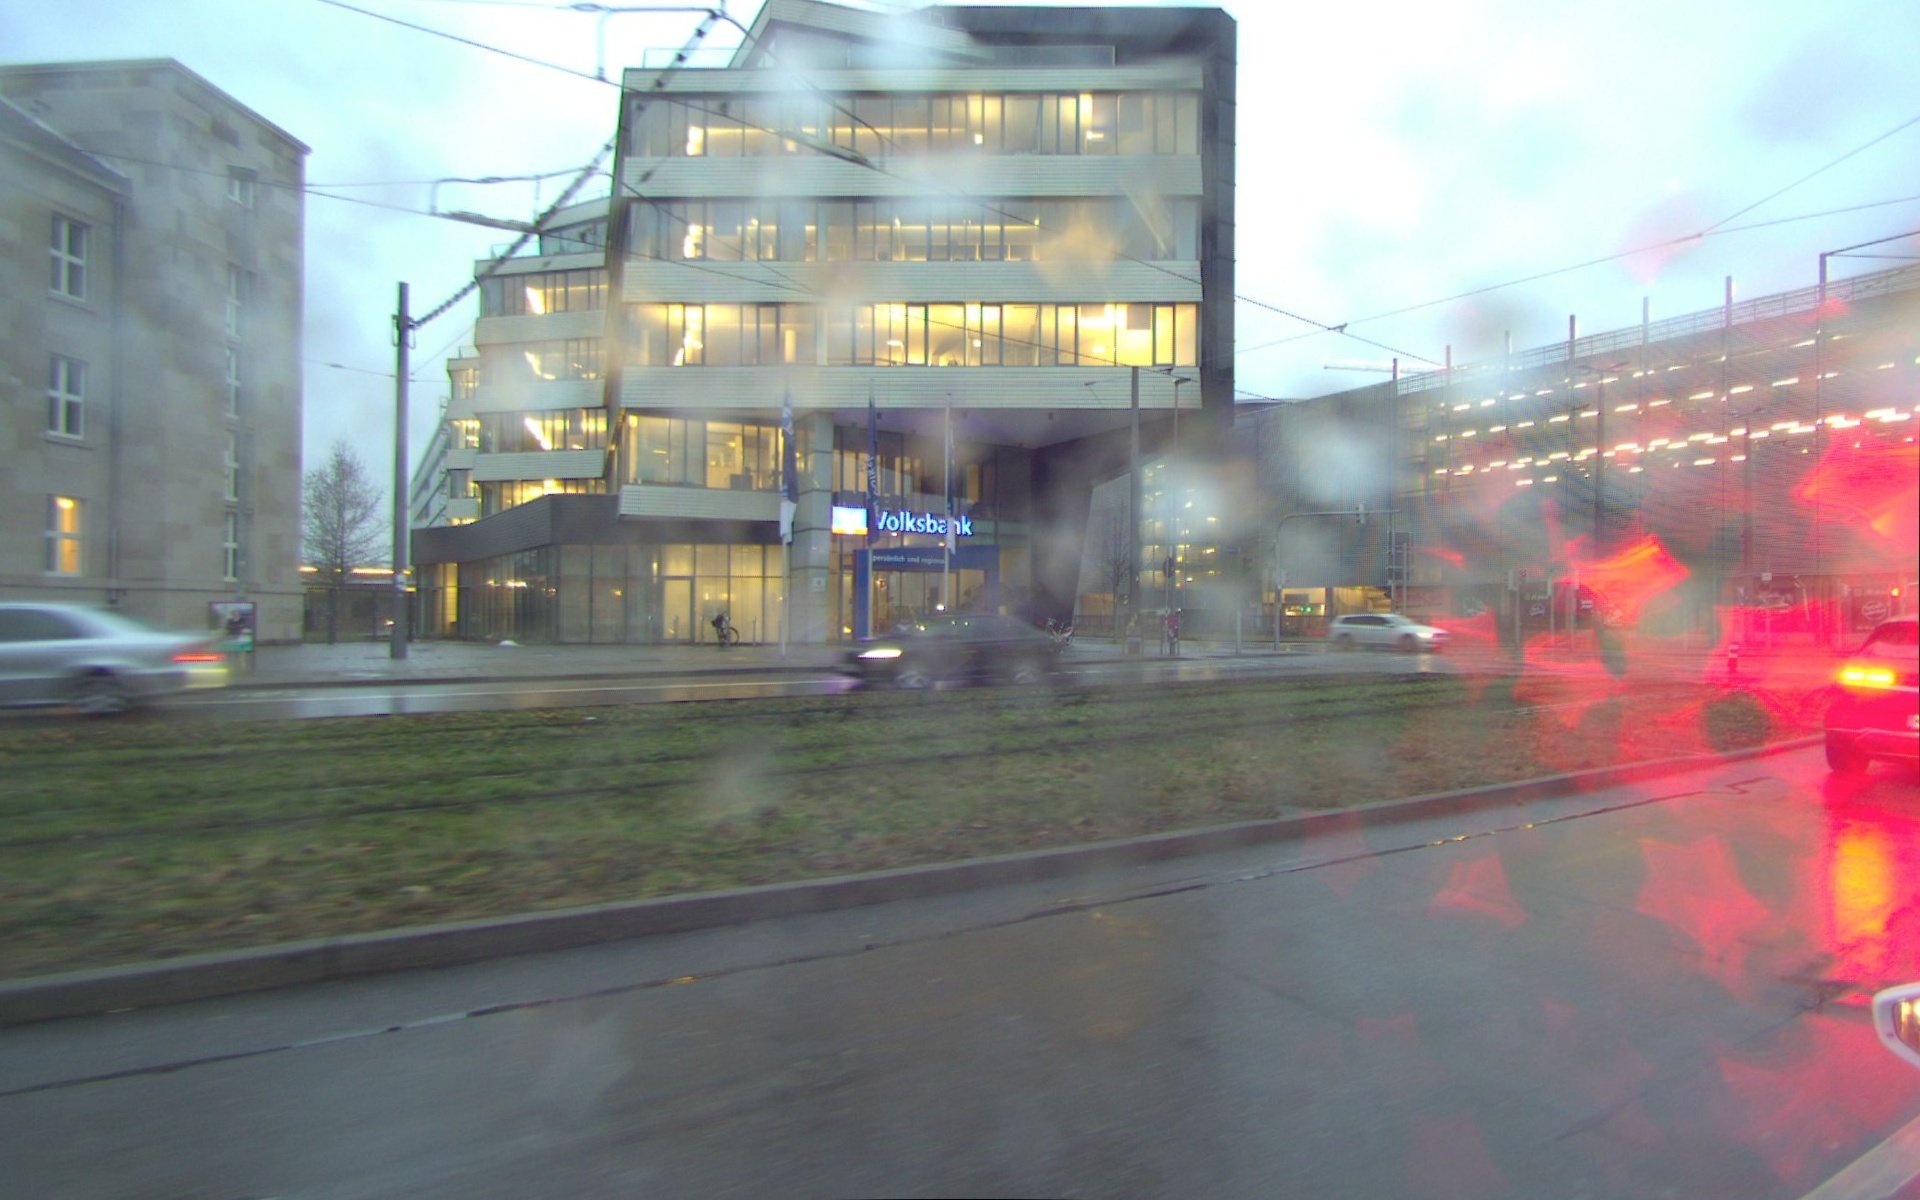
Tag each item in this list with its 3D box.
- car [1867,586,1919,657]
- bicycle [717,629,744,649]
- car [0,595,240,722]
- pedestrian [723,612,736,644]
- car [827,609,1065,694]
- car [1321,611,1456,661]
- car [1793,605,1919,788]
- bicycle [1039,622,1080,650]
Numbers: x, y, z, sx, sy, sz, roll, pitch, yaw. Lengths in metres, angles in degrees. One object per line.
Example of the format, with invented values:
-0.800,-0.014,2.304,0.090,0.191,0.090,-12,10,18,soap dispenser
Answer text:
26.950,0.545,26.744,1.984,1.899,3.953,0,-2,-41,car
-8.088,1.373,35.452,0.896,0.724,0.483,1,-1,-10,bicycle
-11.962,0.689,12.578,4.600,1.454,1.812,1,1,-30,car
-8.079,0.977,35.222,0.380,1.103,0.325,0,-1,4,pedestrian
-0.201,0.925,19.570,4.477,1.419,1.646,0,2,-35,car
16.869,1.404,39.725,1.817,1.875,4.630,2,-2,-40,car
10.012,0.882,9.936,3.959,1.595,1.742,1,-1,-35,car
4.022,1.442,40.582,1.588,1.105,0.553,1,-1,-23,bicycle
